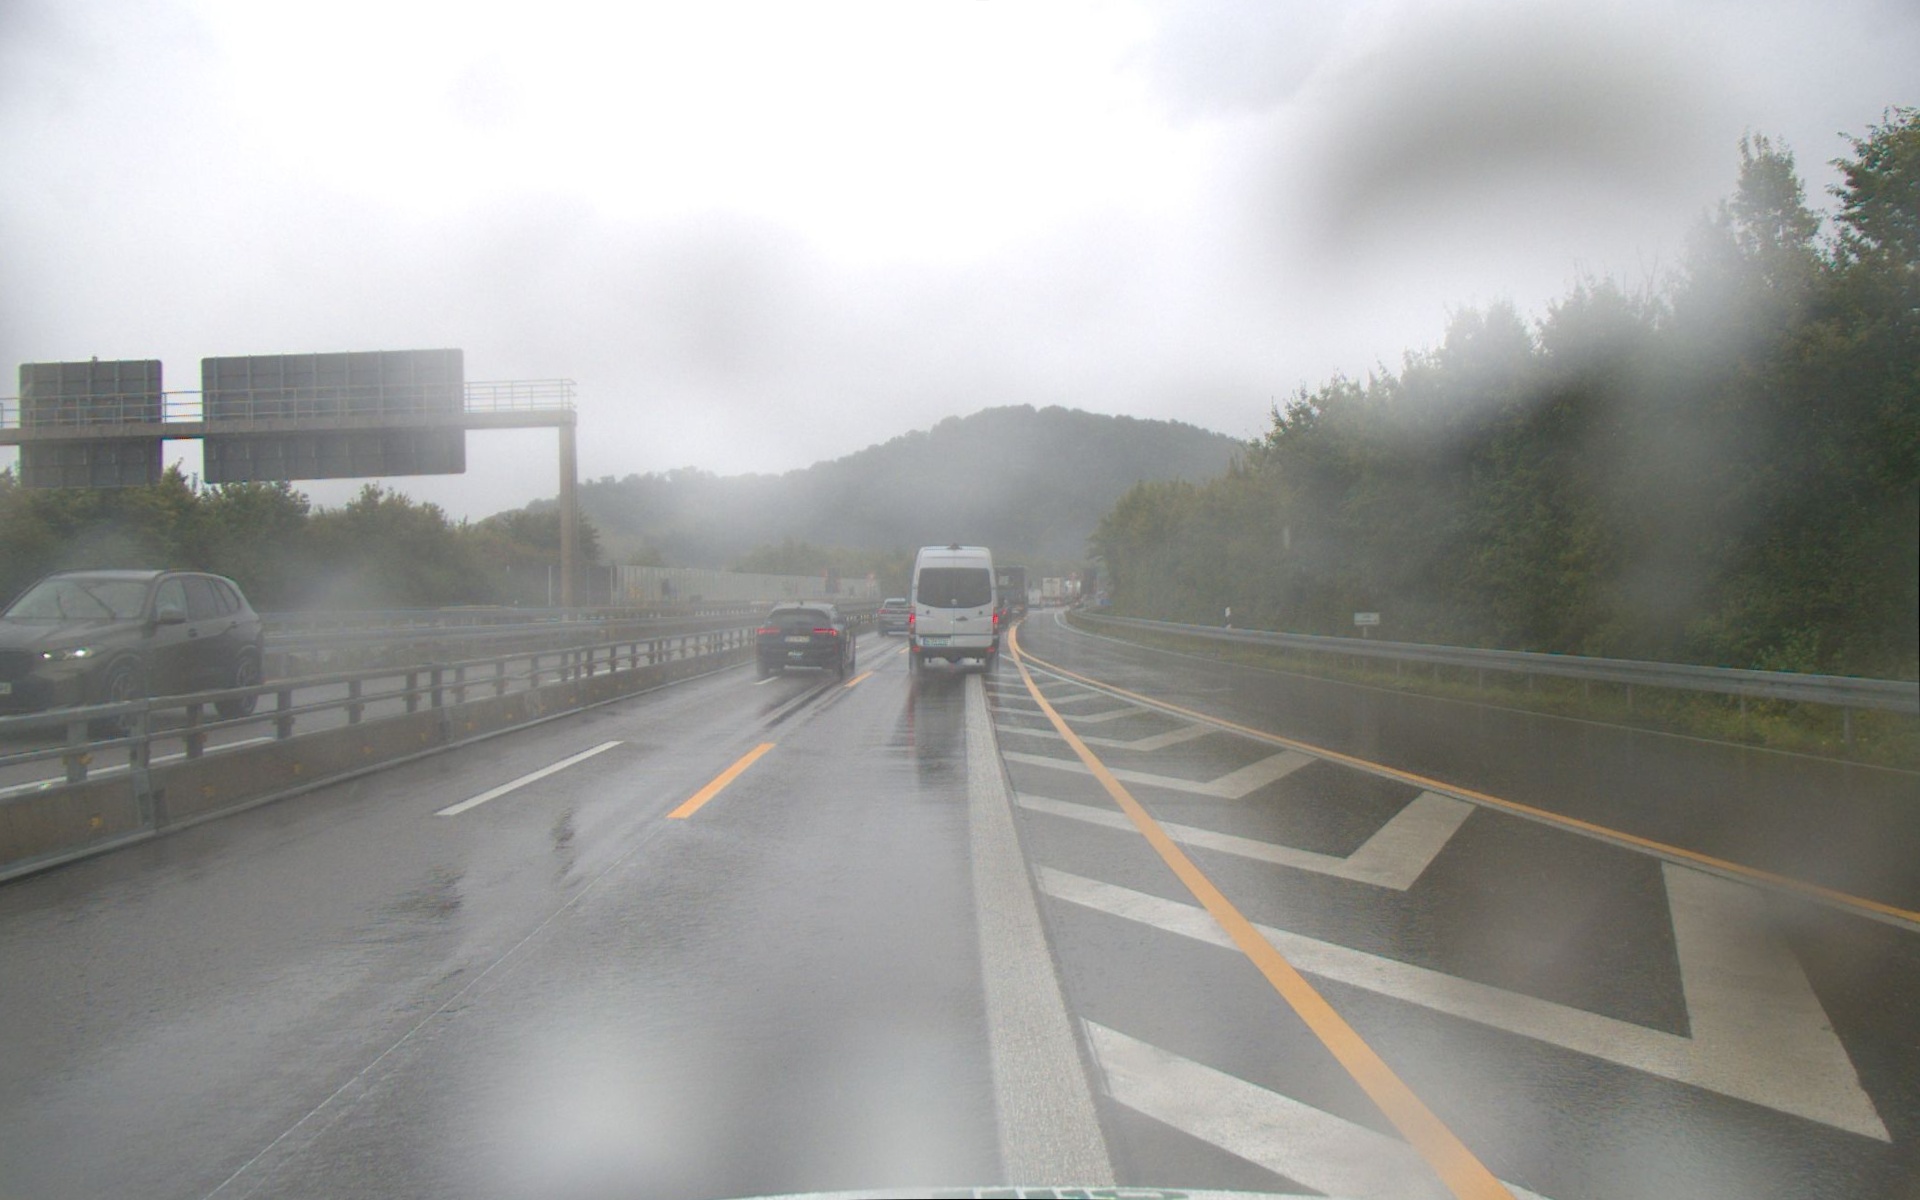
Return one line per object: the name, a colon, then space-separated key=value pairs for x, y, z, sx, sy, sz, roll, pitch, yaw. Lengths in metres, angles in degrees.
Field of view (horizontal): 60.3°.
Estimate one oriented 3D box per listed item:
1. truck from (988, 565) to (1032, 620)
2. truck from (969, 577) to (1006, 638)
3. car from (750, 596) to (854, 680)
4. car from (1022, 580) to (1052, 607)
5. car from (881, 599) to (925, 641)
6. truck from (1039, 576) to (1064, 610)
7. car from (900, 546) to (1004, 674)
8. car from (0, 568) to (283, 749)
truck: x=4.362 y=-0.607 z=141.604 sx=3.506 sy=4.483 sz=9.627 roll=1 pitch=0 yaw=3
truck: x=1.557 y=0.414 z=92.127 sx=1.952 sy=3.163 sz=8.500 roll=1 pitch=0 yaw=1
car: x=-3.174 y=0.734 z=33.851 sx=1.908 sy=1.588 sz=3.998 roll=1 pitch=0 yaw=-3
car: x=8.764 y=-0.730 z=187.794 sx=2.837 sy=2.938 sz=6.416 roll=1 pitch=0 yaw=7
car: x=-2.324 y=0.792 z=68.130 sx=1.672 sy=1.656 sz=4.000 roll=1 pitch=0 yaw=0
truck: x=12.626 y=-0.952 z=227.837 sx=2.972 sy=4.483 sz=9.629 roll=1 pitch=0 yaw=5
car: x=-0.167 y=0.216 z=36.831 sx=2.101 sy=2.616 sz=5.389 roll=1 pitch=0 yaw=0
car: x=-9.577 y=0.567 z=18.564 sx=1.911 sy=1.747 sz=5.102 roll=1 pitch=0 yaw=-1
